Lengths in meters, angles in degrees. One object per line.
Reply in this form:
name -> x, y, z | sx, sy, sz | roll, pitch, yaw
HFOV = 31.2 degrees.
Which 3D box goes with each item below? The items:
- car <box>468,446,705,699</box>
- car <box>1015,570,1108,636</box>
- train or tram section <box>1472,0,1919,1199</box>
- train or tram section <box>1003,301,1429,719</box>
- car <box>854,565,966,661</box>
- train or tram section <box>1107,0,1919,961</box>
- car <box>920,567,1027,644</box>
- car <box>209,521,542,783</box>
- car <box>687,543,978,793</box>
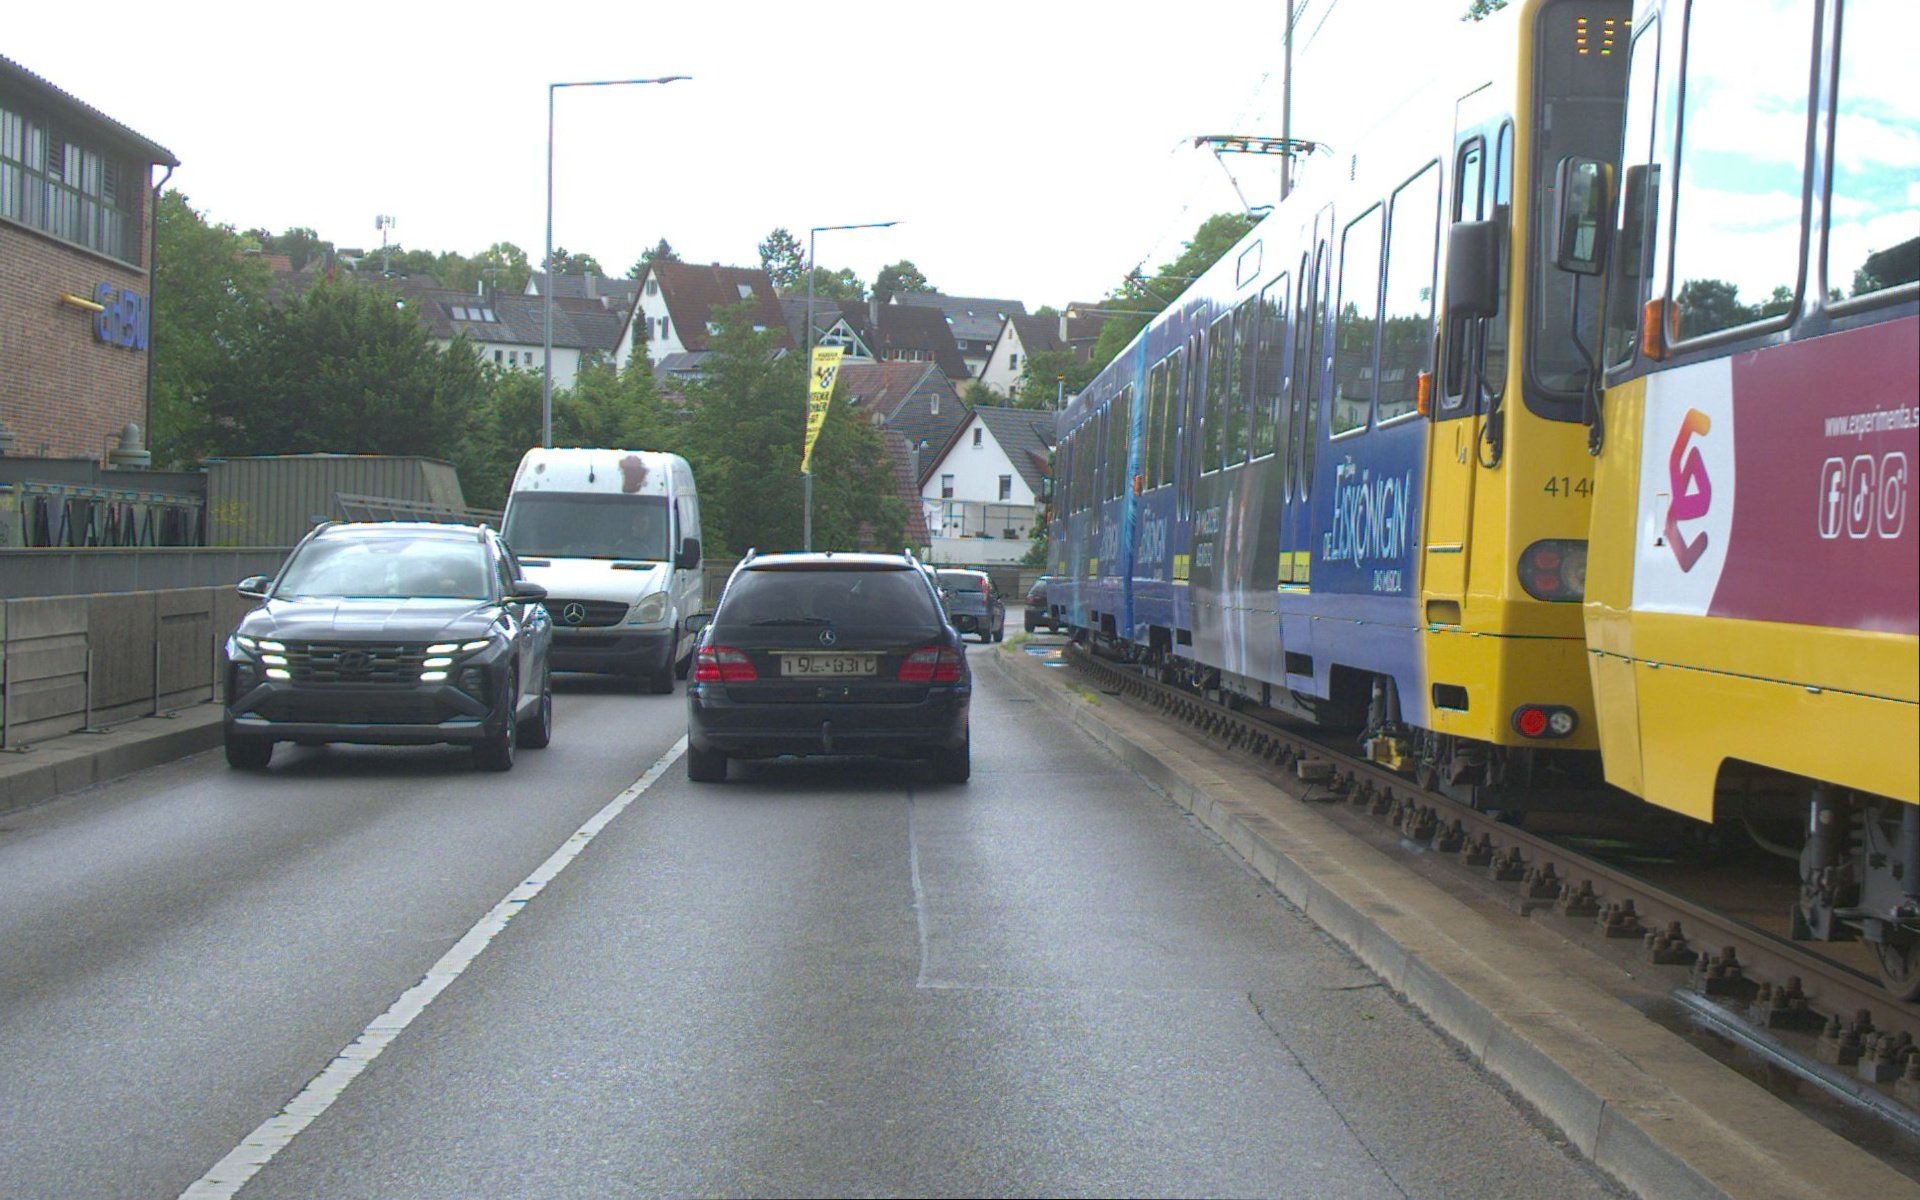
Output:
car -> -4.033, -0.364, 38.264 | 2.033, 2.552, 7.008 | 0, 1, -1
car -> 2.561, 0.065, 85.921 | 1.771, 1.550, 4.239 | 2, 0, 9
train or tram section -> 3.426, -0.327, 2.362 | 2.829, 3.568, 18.669 | -1, 1, -2
train or tram section -> 2.482, -0.914, 41.510 | 2.793, 3.751, 19.894 | 2, 0, -2
car -> -0.889, 0.190, 58.935 | 1.770, 1.550, 4.241 | 0, 1, -3
train or tram section -> 3.045, -0.716, 21.590 | 2.784, 3.643, 19.894 | -1, 1, -2
car -> 0.312, 0.093, 72.366 | 1.793, 1.550, 4.384 | 1, 1, 6
car -> -3.953, 0.284, 23.829 | 1.715, 1.640, 4.001 | -1, 1, -2
car -> -0.852, 0.386, 23.055 | 1.759, 1.510, 4.443 | 0, 1, -2
